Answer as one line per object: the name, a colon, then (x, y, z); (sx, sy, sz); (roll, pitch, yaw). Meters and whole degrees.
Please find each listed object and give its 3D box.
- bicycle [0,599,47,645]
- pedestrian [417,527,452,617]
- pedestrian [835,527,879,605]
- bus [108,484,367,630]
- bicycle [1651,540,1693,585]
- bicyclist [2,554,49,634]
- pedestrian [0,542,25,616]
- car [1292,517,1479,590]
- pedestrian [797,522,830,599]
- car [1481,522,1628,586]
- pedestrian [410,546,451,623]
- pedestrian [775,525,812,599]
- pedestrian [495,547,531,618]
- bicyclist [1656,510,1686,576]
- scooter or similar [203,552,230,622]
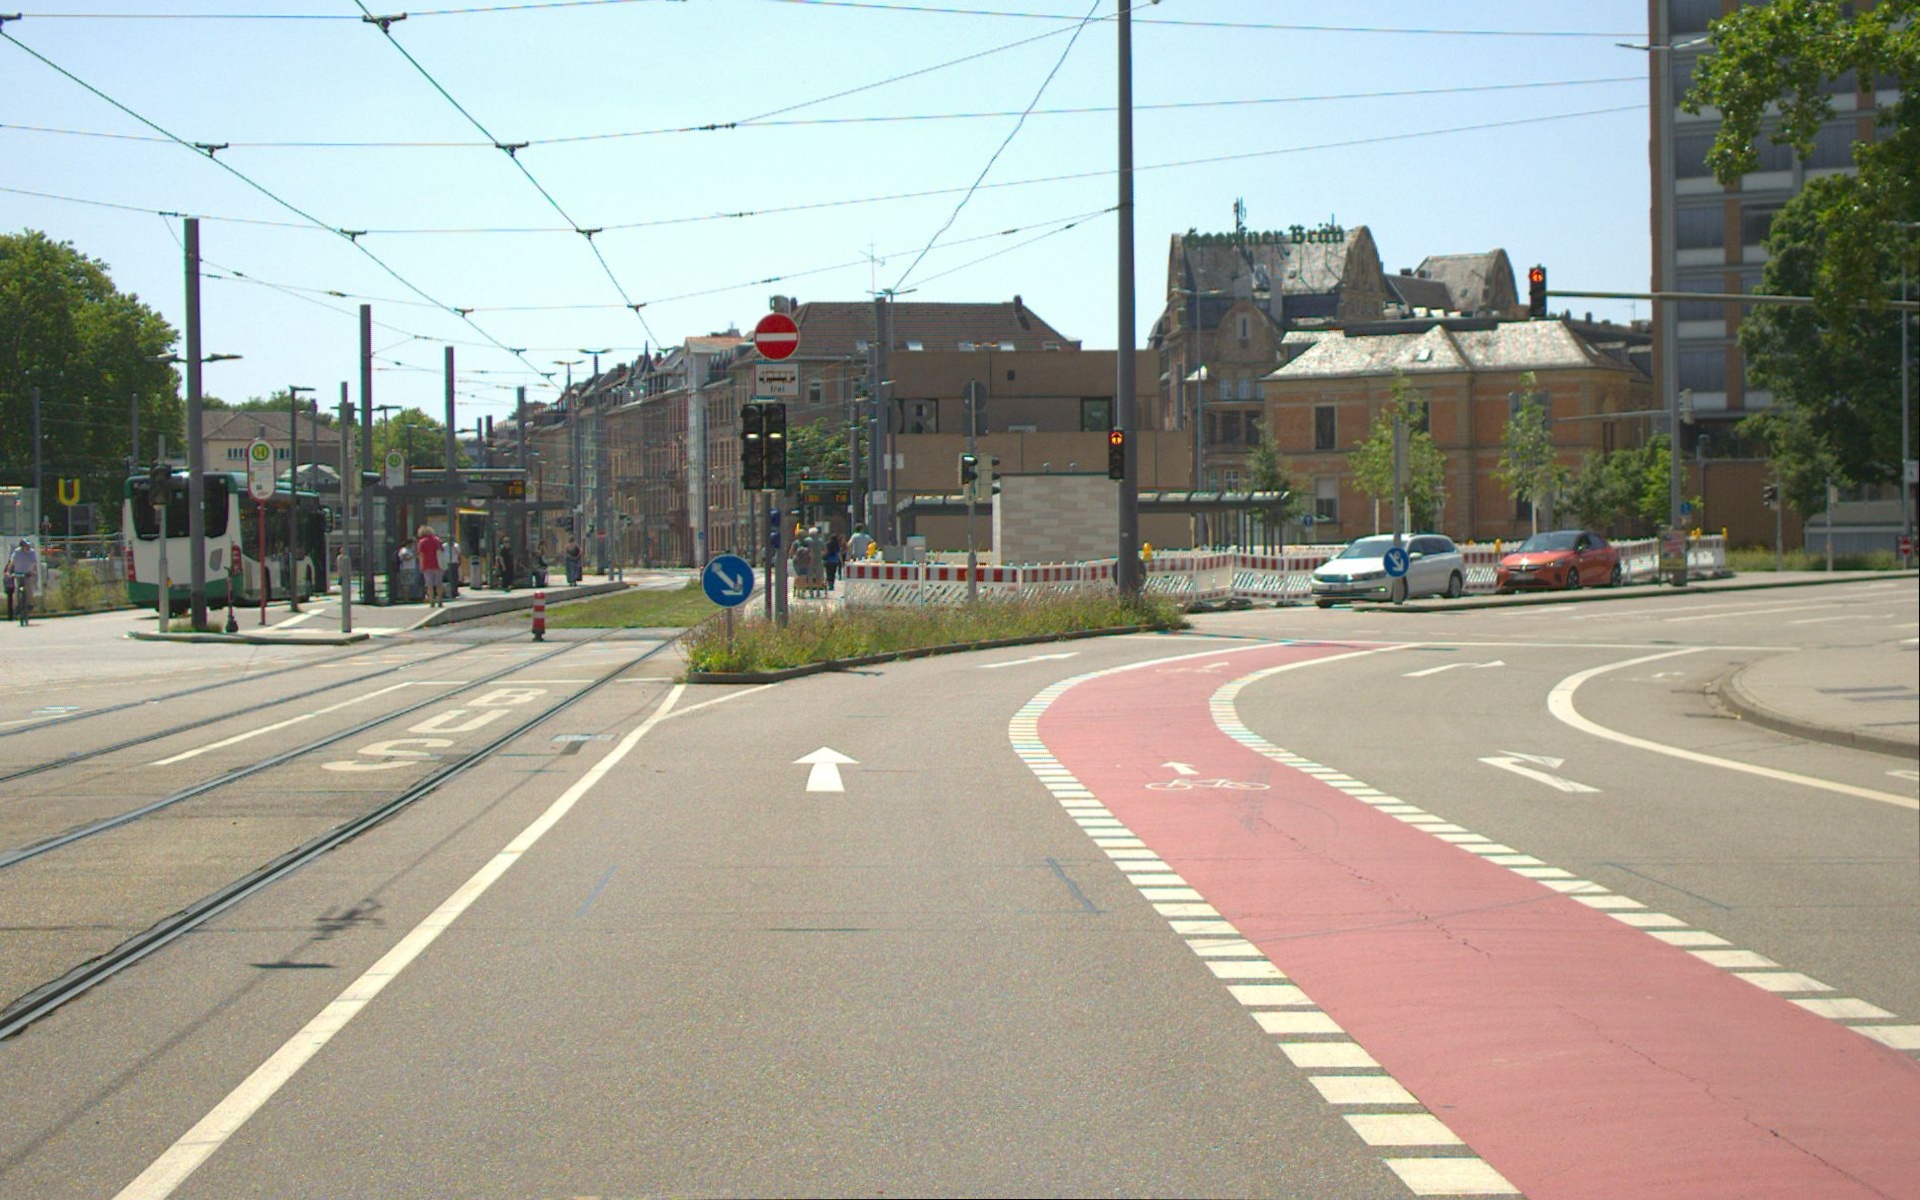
bicycle: (-19.931, 0.467, 73.185); (0.503, 0.911, 2.371); (-1, 1, -4)
pedestrian: (-11.208, -0.605, 73.284); (0.672, 1.903, 0.641); (-1, 1, -11)
pedestrian: (-2.463, -0.802, 82.105); (0.765, 1.858, 0.730); (0, 0, -42)
bus: (-17.369, -1.093, 84.218); (3.010, 3.147, 17.499); (-1, 1, -1)
bicycle: (18.665, -0.984, 90.121); (0.398, 1.170, 1.767); (-1, -1, 36)
bicyclist: (-19.934, -0.134, 73.367); (0.820, 1.704, 0.770); (-1, 1, -4)
pedestrian: (-22.012, -0.481, 79.719); (0.566, 1.700, 0.397); (-1, 1, -9)
car: (8.869, -0.956, 71.398); (1.997, 1.433, 4.696); (0, 0, 33)
pedestrian: (-3.476, -0.939, 81.463); (0.657, 1.825, 0.760); (-1, 1, -9)
car: (13.623, -1.044, 78.658); (1.734, 1.420, 4.115); (0, 0, 35)
pedestrian: (-12.750, -0.378, 82.801); (0.911, 1.845, 0.658); (-1, 1, -11)
pedestrian: (-3.879, -0.886, 80.095); (0.726, 1.701, 0.744); (0, 0, -13)
pedestrian: (-13.330, -0.532, 102.500); (0.899, 2.089, 0.831); (-1, 1, 3)
bicyclist: (18.663, -1.496, 90.231); (0.568, 1.713, 0.506); (-1, 1, 39)
scooter or similar: (-12.951, -0.227, 59.905); (0.318, 1.202, 1.249); (-1, 1, -7)
